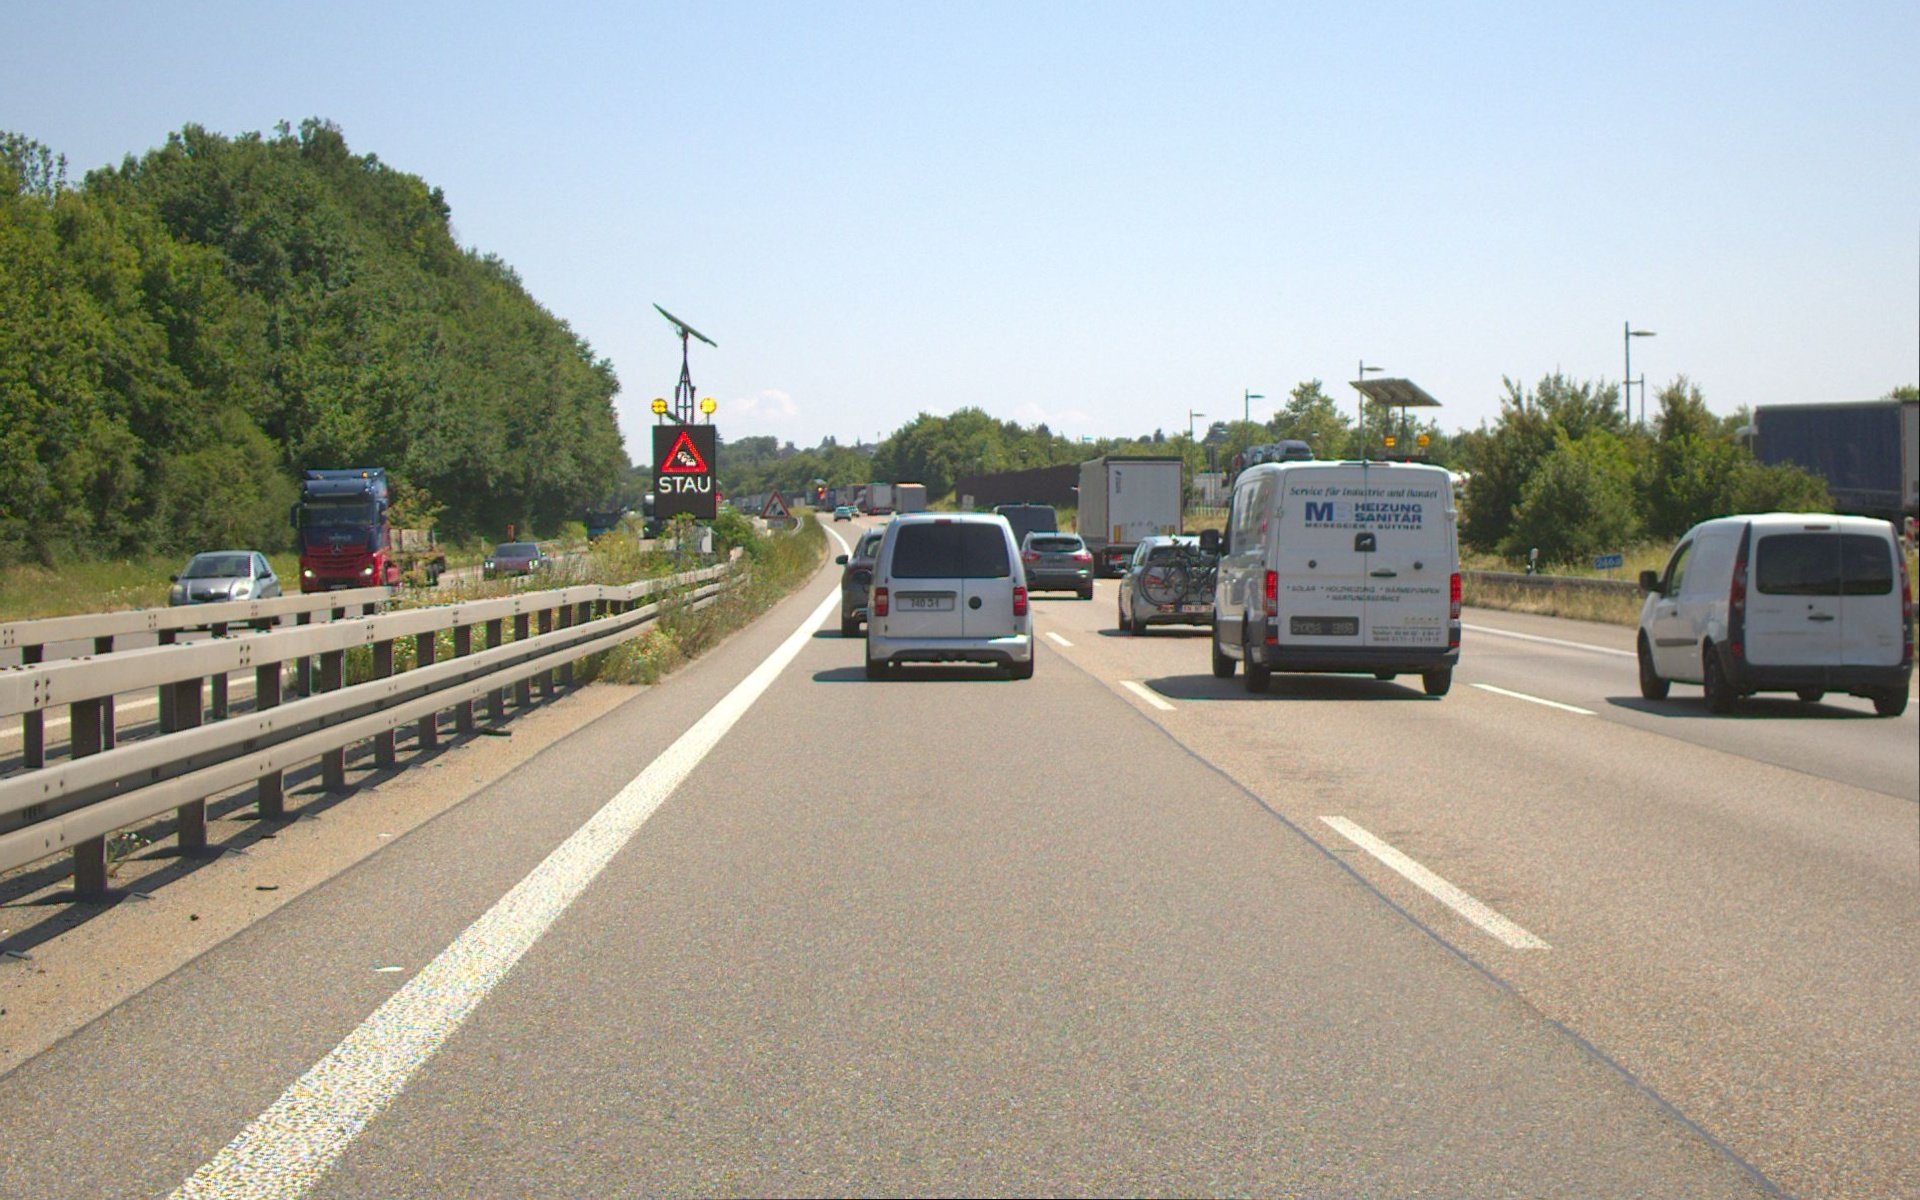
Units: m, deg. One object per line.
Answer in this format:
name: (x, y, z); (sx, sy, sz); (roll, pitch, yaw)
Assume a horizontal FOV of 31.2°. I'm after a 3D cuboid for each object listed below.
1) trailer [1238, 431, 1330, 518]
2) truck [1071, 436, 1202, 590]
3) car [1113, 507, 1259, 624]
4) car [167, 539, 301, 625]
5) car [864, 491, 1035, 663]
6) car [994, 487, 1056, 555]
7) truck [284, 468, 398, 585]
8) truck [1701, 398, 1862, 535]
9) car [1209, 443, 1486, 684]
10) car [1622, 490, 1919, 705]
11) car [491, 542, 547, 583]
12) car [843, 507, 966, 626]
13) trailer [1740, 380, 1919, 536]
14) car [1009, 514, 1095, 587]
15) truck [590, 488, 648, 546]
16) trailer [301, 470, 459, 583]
trailer: (17.406, -6.671, 186.009); (2.605, 4.243, 18.424); (1, 1, -2)
truck: (6.001, -2.952, 119.067); (3.788, 4.982, 12.519); (1, 1, 0)
car: (3.481, -0.555, 53.563); (1.976, 1.727, 4.089); (-1, 1, 0)
car: (-14.073, -0.370, 66.789); (1.782, 1.525, 3.884); (-3, 1, -1)
car: (-0.109, -0.273, 37.673); (1.745, 1.758, 4.089); (-1, 1, 0)
car: (1.842, -2.257, 98.966); (1.674, 1.885, 4.089); (-1, 1, 0)
truck: (-19.270, -2.295, 107.129); (2.996, 3.546, 3.118); (-1, 1, -1)
truck: (25.462, -4.080, 106.840); (3.052, 4.069, 6.399); (1, 1, -4)
car: (3.849, -0.386, 35.119); (2.181, 2.246, 5.363); (1, 1, 0)
car: (7.591, -0.055, 31.815); (1.950, 1.831, 4.179); (-1, 1, -2)
car: (-15.063, -1.293, 117.597); (1.769, 1.330, 4.922); (-2, 1, -6)
car: (-0.803, -0.523, 52.044); (1.745, 1.695, 4.089); (-1, 1, 0)
trailer: (25.995, -3.897, 98.637); (3.052, 4.069, 14.260); (1, 1, -4)
car: (2.161, -1.173, 81.416); (1.902, 1.666, 4.089); (-1, 1, 0)
truck: (-22.816, -5.532, 230.551); (2.996, 3.789, 10.790); (-1, 1, -1)
trailer: (-19.492, -2.474, 116.658); (2.996, 3.546, 16.025); (-1, 1, -1)
